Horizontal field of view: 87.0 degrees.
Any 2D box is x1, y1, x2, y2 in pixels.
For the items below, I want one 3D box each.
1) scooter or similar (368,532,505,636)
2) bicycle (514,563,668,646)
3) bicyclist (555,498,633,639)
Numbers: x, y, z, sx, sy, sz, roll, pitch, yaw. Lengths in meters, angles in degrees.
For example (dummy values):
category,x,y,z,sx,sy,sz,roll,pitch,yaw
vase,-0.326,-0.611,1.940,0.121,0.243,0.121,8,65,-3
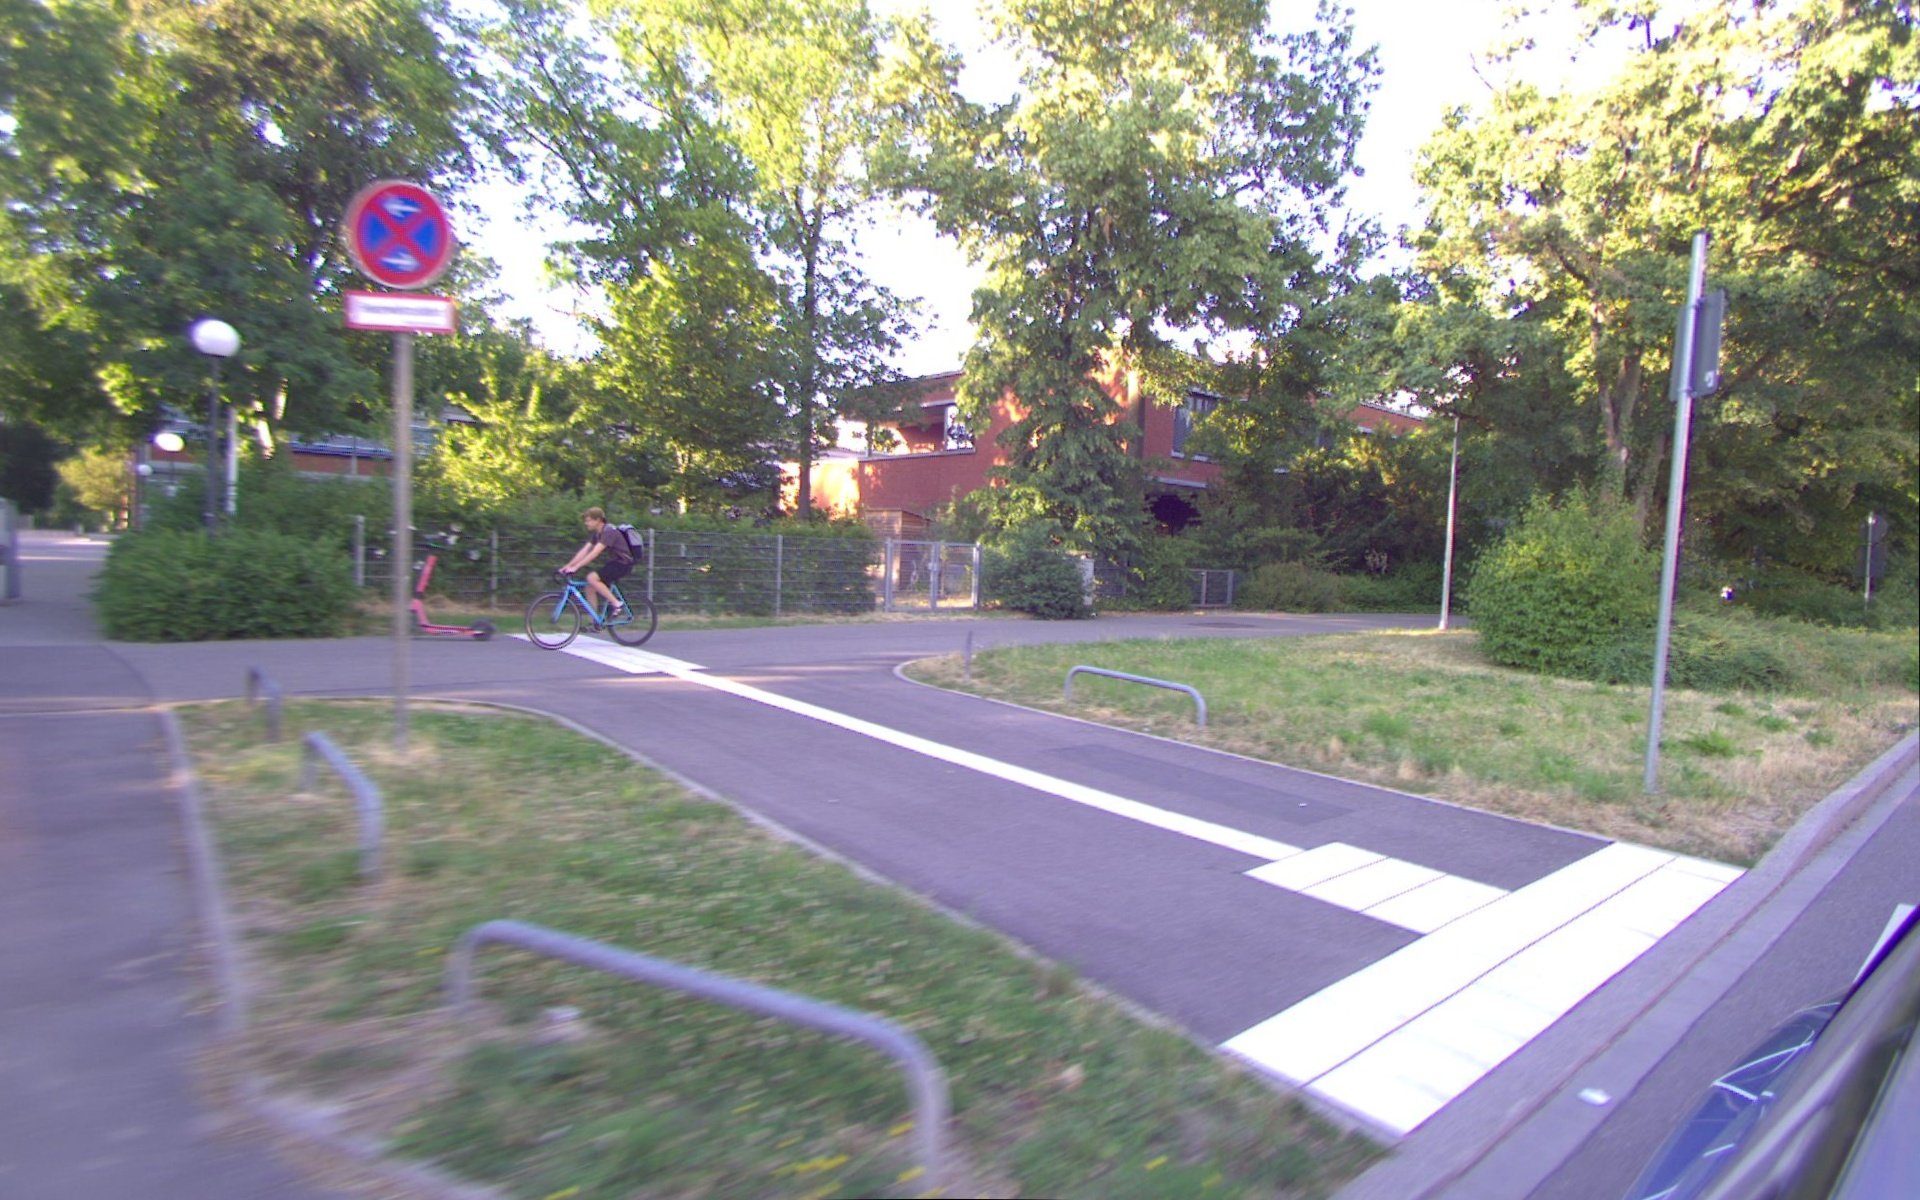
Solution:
category,x,y,z,sx,sy,sz,roll,pitch,yaw
scooter or similar,-6.444,-0.198,12.499,1.439,1.222,0.388,2,2,-13
bicycle,-4.490,0.040,12.388,1.693,0.929,0.533,0,4,-42
bicyclist,-4.474,-0.387,12.372,0.712,1.664,0.533,0,3,-42
